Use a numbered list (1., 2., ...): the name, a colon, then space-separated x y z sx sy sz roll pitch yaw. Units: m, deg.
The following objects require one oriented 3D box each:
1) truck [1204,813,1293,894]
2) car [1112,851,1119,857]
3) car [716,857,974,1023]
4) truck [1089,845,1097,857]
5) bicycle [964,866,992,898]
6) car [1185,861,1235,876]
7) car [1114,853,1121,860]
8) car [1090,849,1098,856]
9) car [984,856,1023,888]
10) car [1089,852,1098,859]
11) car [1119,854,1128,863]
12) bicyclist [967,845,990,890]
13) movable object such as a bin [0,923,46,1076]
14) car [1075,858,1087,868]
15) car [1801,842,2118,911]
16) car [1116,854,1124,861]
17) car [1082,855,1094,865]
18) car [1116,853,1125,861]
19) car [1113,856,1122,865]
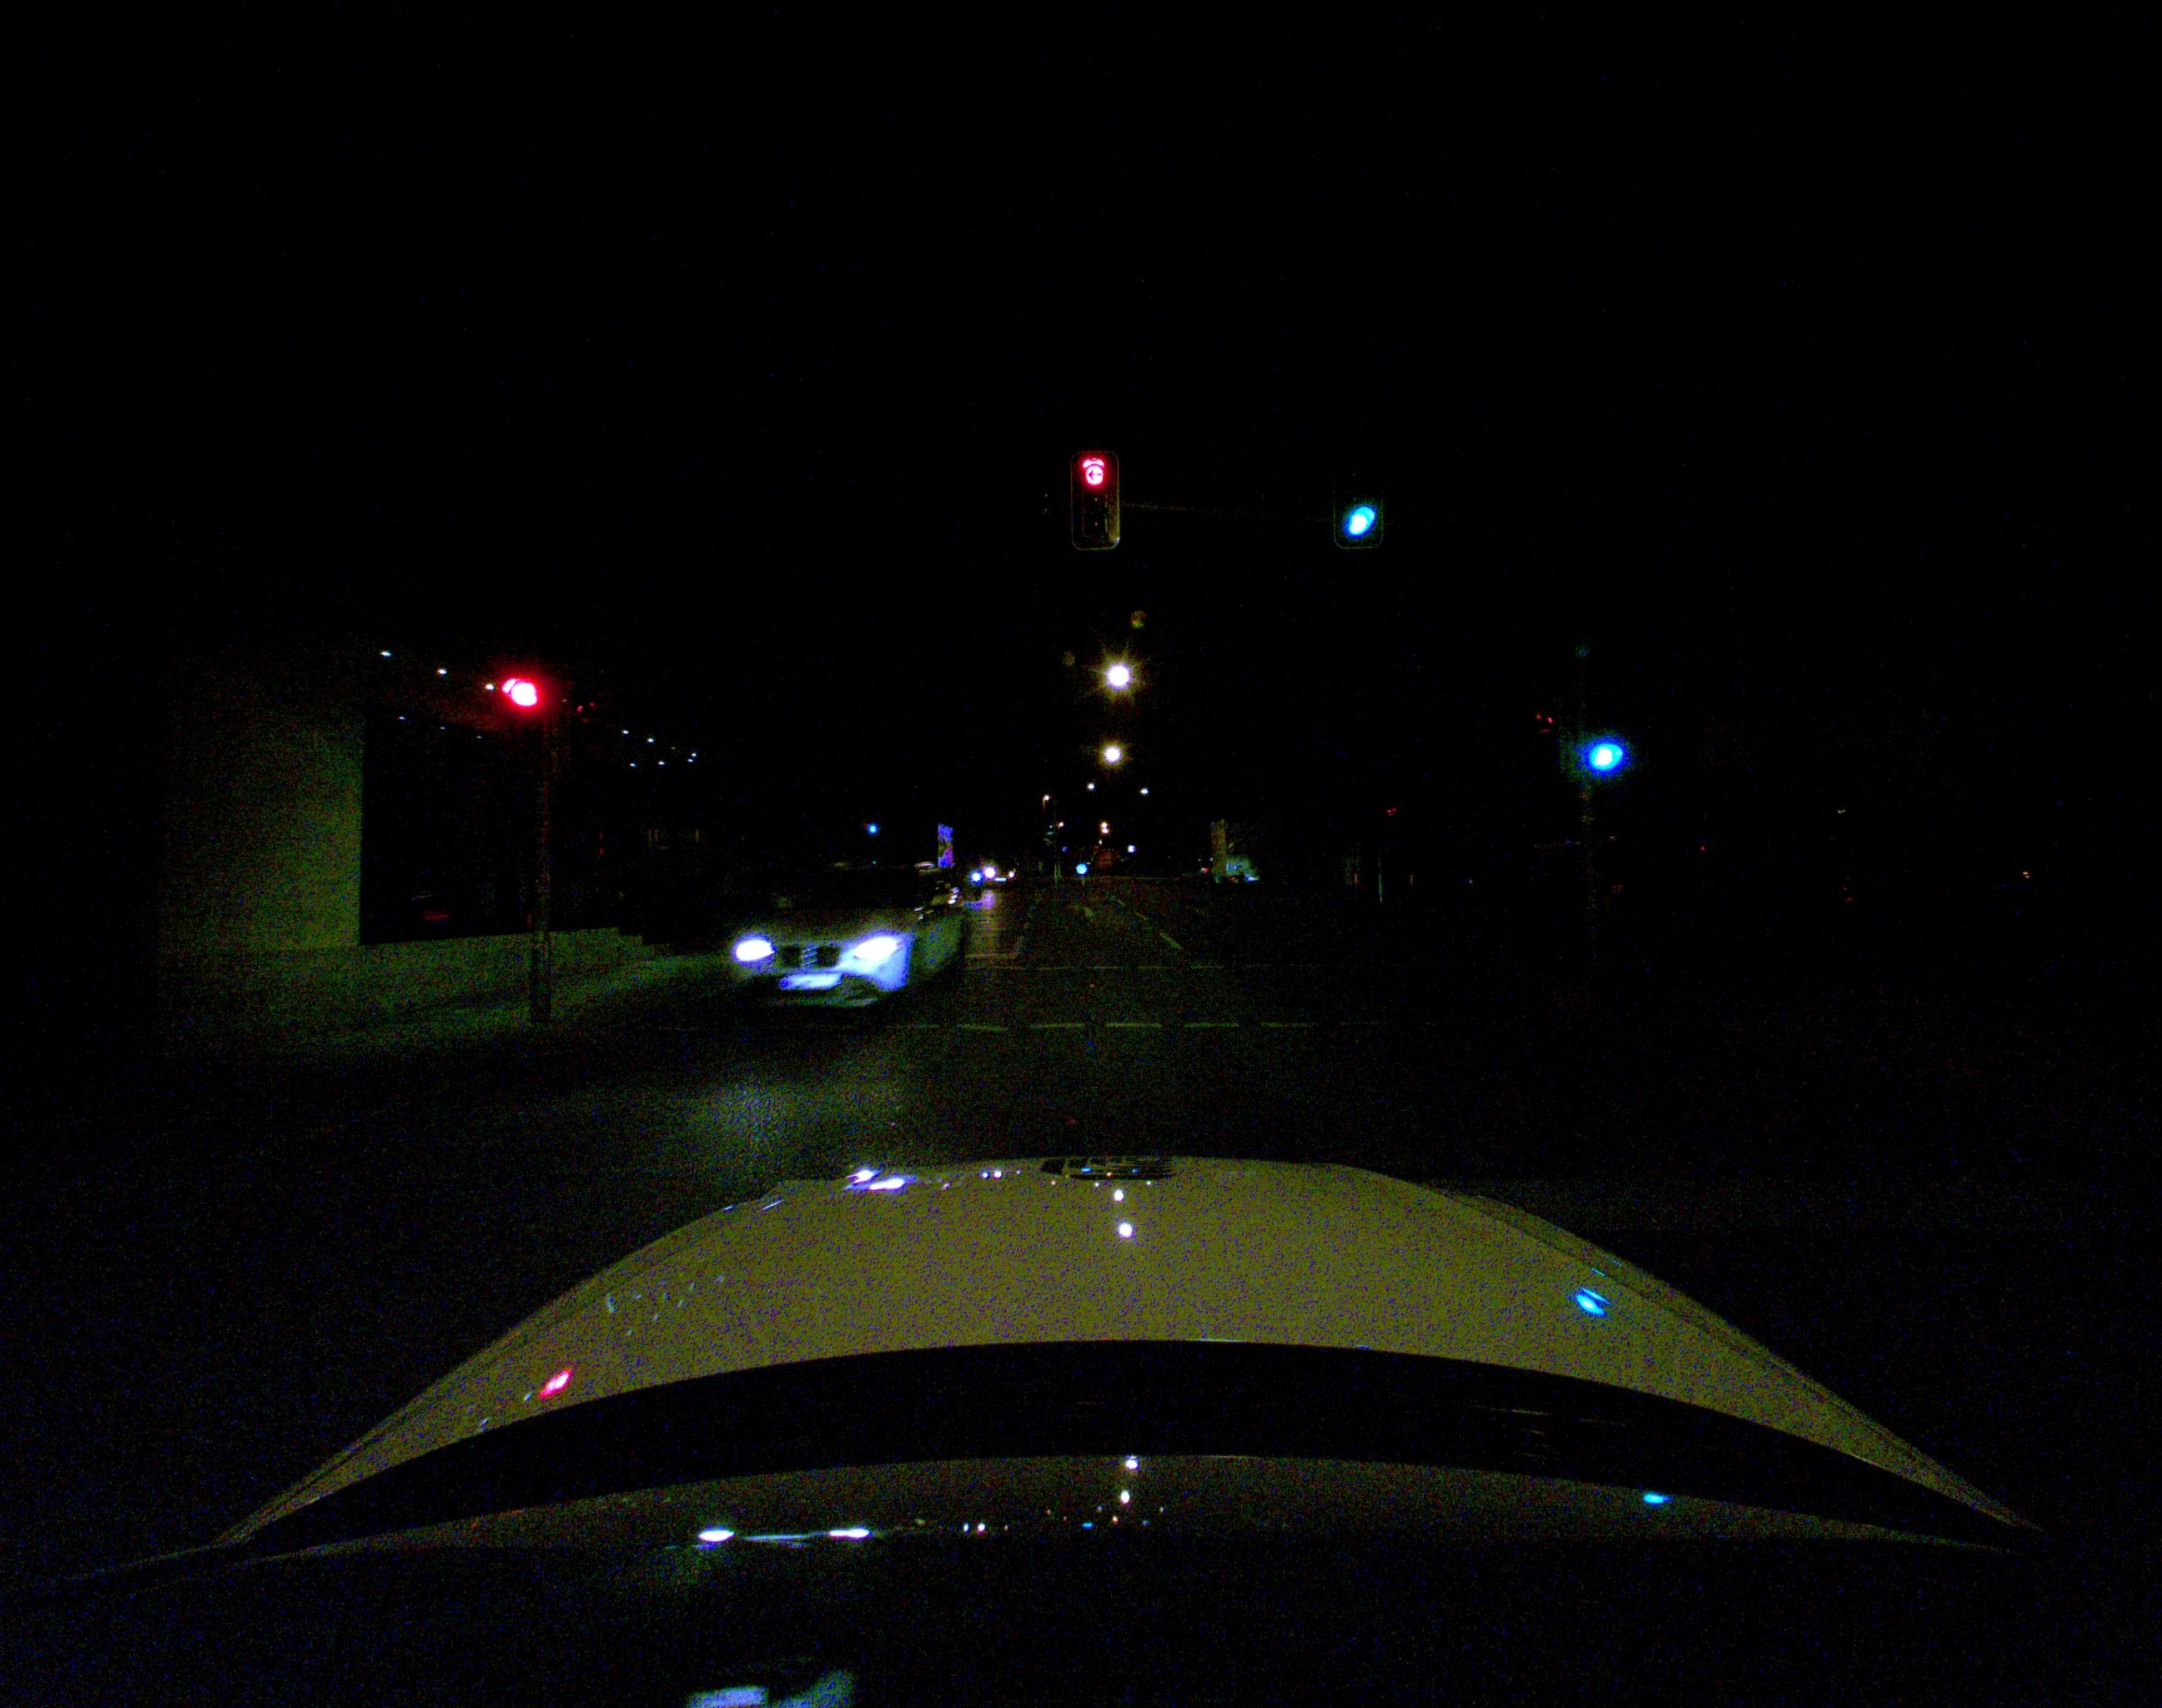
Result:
1. truck: 6.943 -0.007 34.549 2.738 3.110 6.262 0 0 2
2. car: 8.179 0.006 191.558 1.628 1.452 3.486 0 0 2
3. car: -2.459 0.804 9.591 1.851 1.534 4.027 0 0 0
4. truck: 3.133 -0.727 209.809 2.079 2.848 5.831 0 0 0
5. bicycle: -3.774 1.012 30.003 0.693 1.149 1.951 -1 -1 2
6. car: 12.413 1.344 78.485 4.549 1.388 1.924 0 0 2
7. car: 7.973 0.514 178.578 1.628 1.452 3.486 0 0 2
8. car: 2.993 -0.338 187.156 1.809 1.491 4.000 0 0 0
9. car: -3.801 0.837 40.343 1.576 1.501 3.395 -1 0 0
10. car: 2.428 0.304 160.754 1.809 1.491 4.000 0 0 0
11. car: 7.482 0.814 143.400 1.628 1.452 3.486 0 0 2
12. bicyclist: -3.778 0.482 30.091 0.688 1.637 0.896 -1 -1 1
13. movable object such as a bin: -7.925 1.038 5.703 0.633 1.049 0.657 -1 -1 19
14. car: 0.062 1.333 118.415 1.628 1.452 3.486 0 0 2
15. car: 17.324 0.448 16.273 4.107 1.280 1.770 -1 -1 9
16. car: 7.603 0.700 159.330 1.628 1.452 3.486 0 0 2
17. car: 1.193 1.001 134.628 1.808 1.684 4.002 0 0 2
18. car: 7.467 0.638 153.144 1.628 1.452 3.486 0 0 2
19. car: 6.183 1.043 138.155 1.587 1.476 3.655 -1 0 2
